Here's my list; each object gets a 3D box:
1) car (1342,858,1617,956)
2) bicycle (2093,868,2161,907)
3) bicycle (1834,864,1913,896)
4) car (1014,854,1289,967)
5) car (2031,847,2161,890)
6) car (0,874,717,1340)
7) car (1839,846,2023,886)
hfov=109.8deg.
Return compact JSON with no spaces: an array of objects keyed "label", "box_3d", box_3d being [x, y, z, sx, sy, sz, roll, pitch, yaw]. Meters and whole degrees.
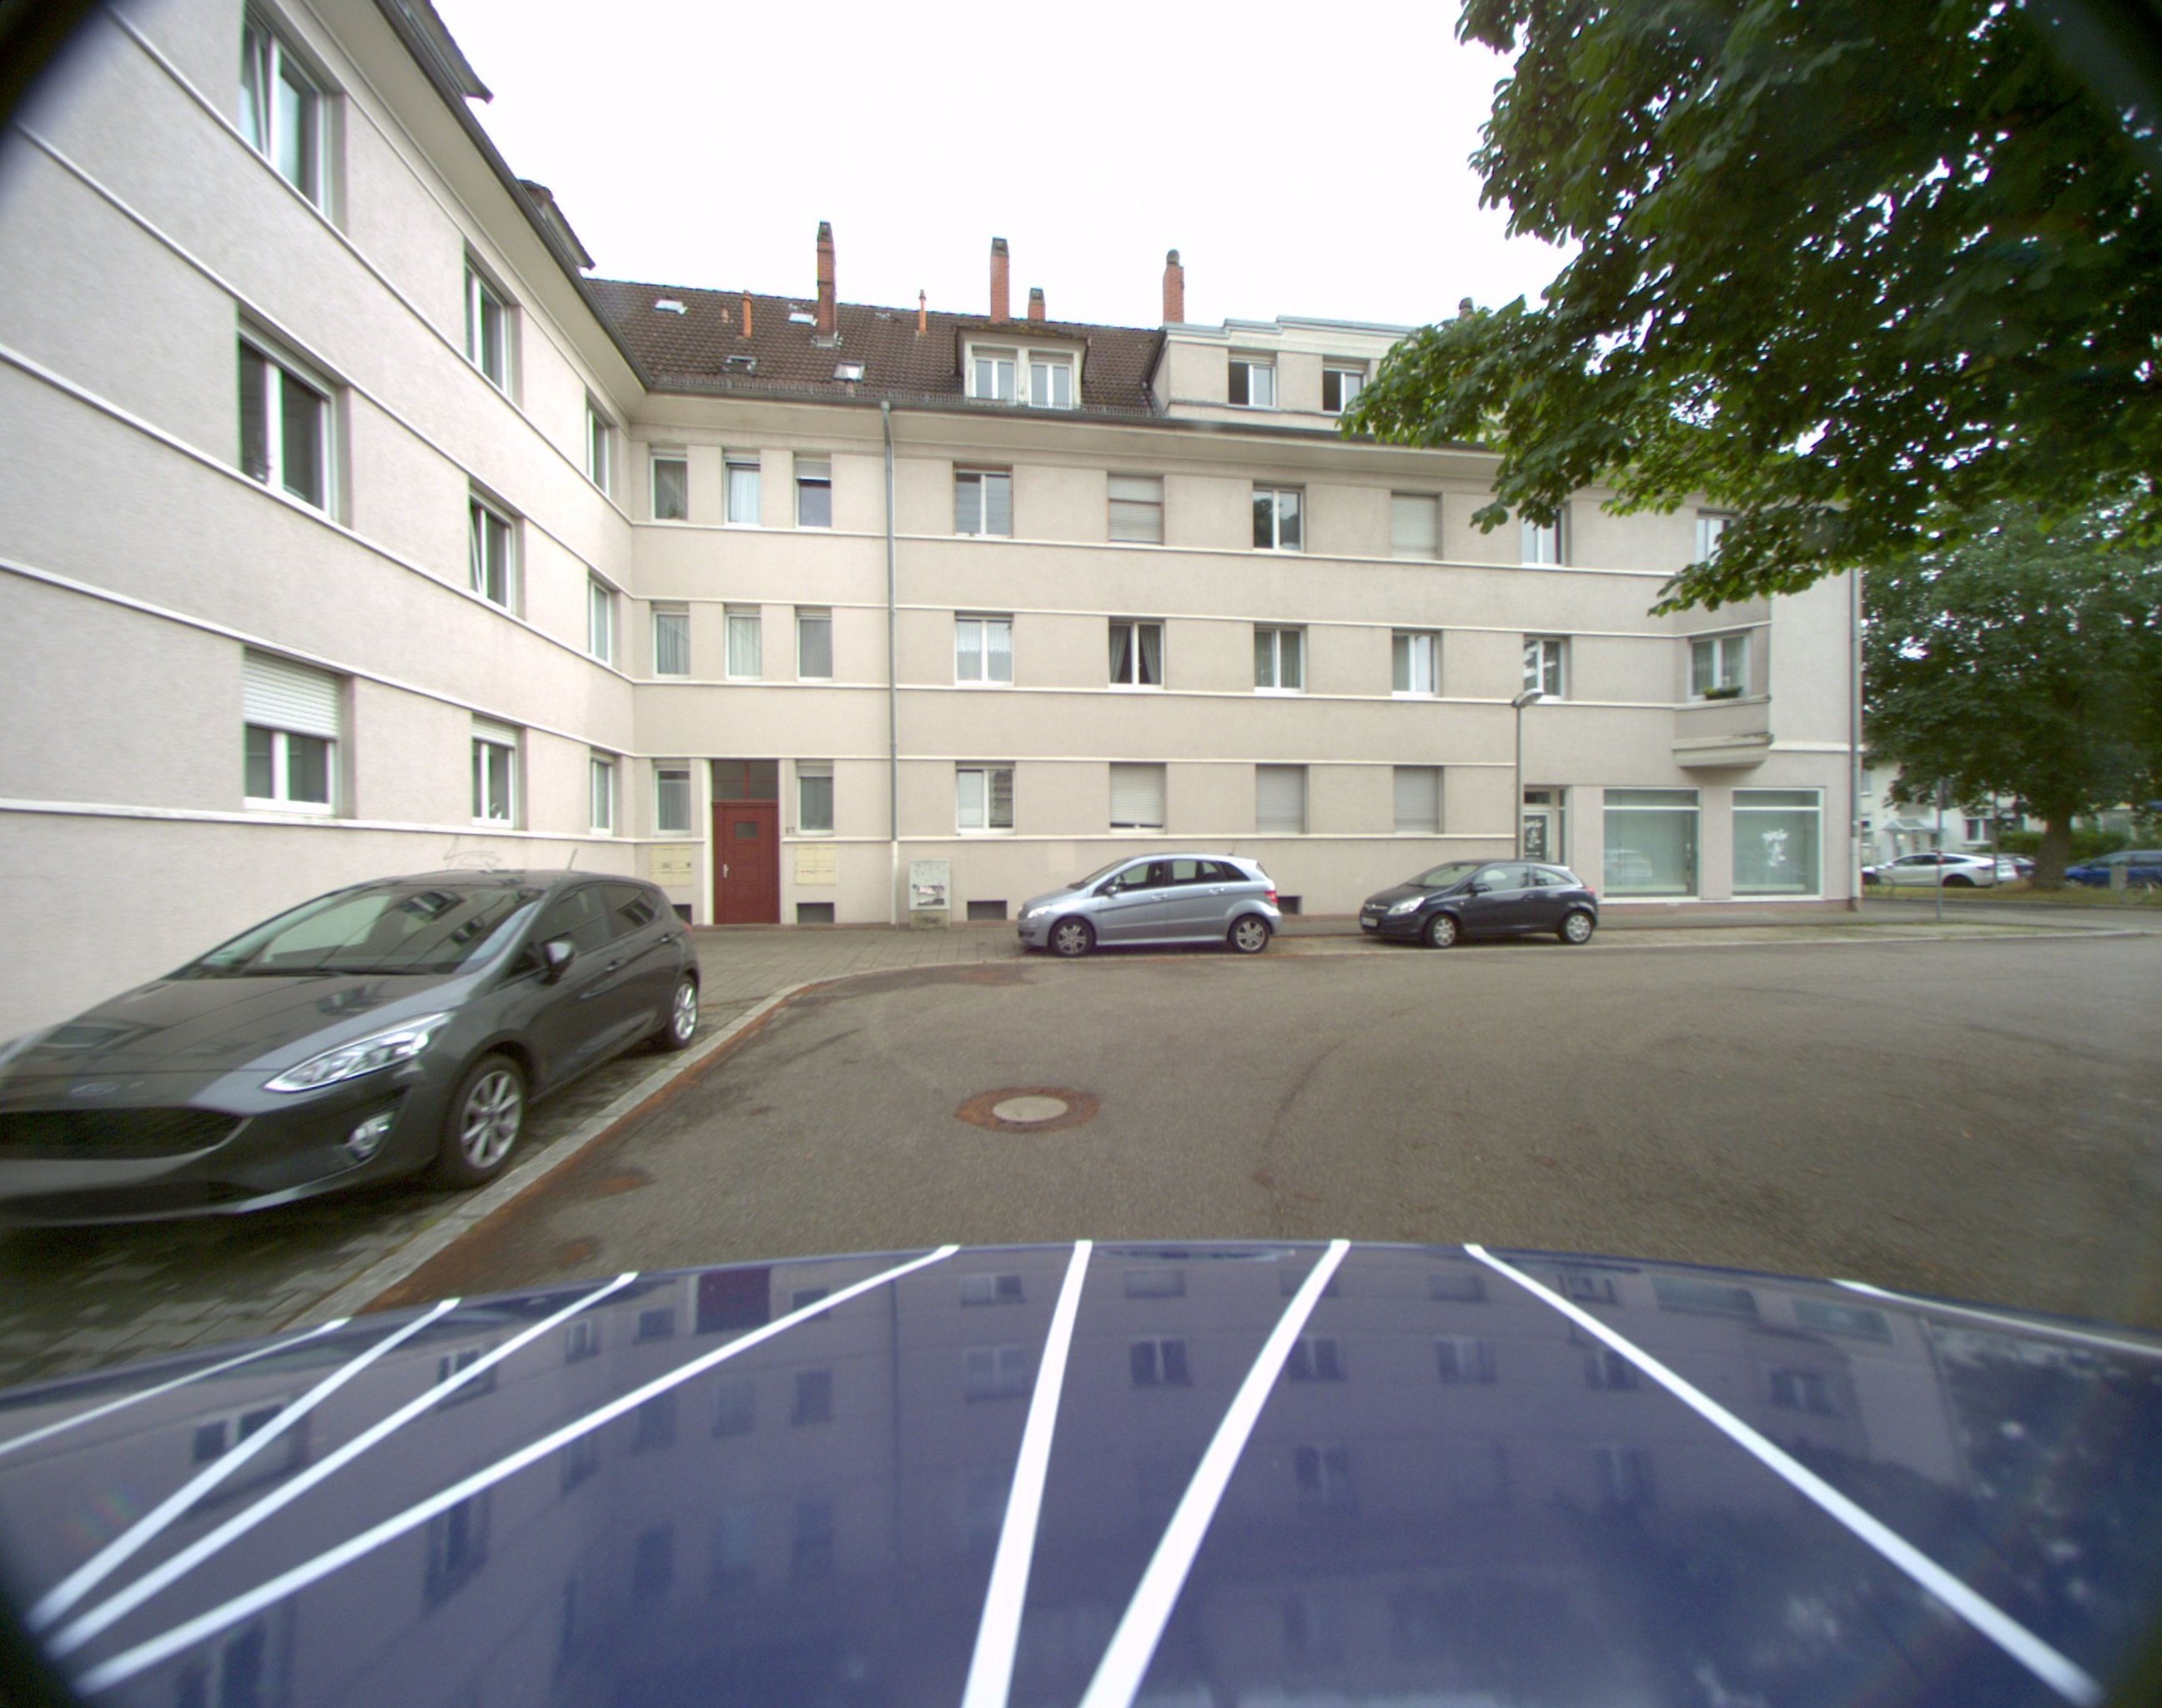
[{"label":"car","box_3d":[6.835,0.857,13.244,3.936,1.481,1.761,-1,0,-7]},{"label":"bicycle","box_3d":[28.682,0.886,20.135,0.512,0.980,2.180,-3,0,-15]},{"label":"bicycle","box_3d":[27.920,0.891,26.811,0.668,1.060,1.883,-1,0,-10]},{"label":"car","box_3d":[1.042,0.850,12.448,4.198,1.618,1.762,-1,0,-5]},{"label":"car","box_3d":[41.298,0.551,30.146,1.705,1.557,4.207,-2,0,-9]},{"label":"car","box_3d":[-3.812,0.912,4.616,1.762,1.516,4.076,0,-1,-9]},{"label":"car","box_3d":[35.505,0.473,31.971,1.903,1.557,4.878,-1,0,-13]}]
